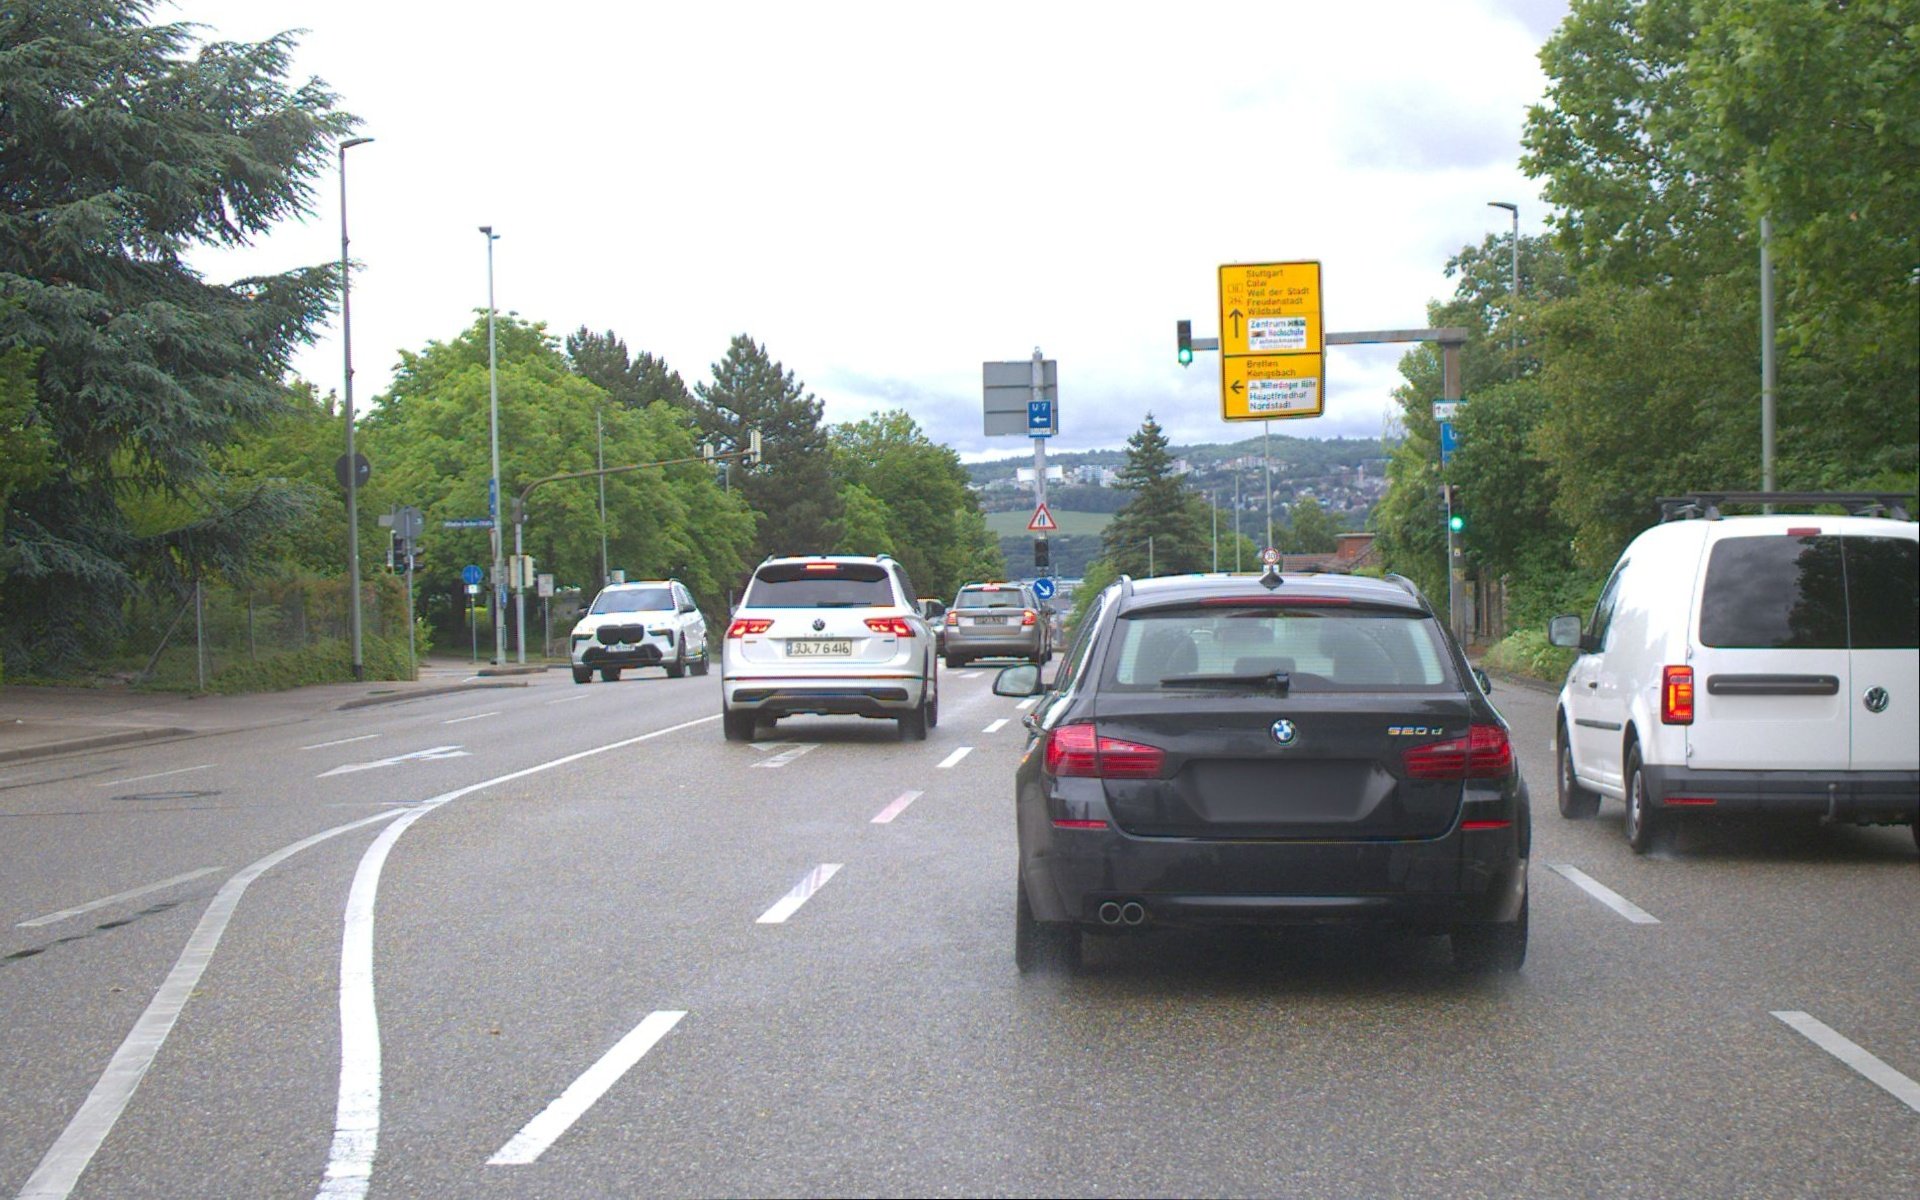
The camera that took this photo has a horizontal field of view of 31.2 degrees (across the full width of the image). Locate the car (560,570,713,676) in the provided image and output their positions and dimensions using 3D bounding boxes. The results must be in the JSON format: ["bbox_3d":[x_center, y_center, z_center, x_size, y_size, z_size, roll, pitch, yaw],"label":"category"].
[{"bbox_3d":[-5.891,0.394,63.214,1.917,1.757,5.142,-3,0,4],"label":"car"}]

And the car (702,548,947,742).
[{"bbox_3d":[-1.190,0.364,31.892,1.869,1.668,4.000,0,1,4],"label":"car"}]

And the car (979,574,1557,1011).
[{"bbox_3d":[1.140,0.634,13.370,1.899,1.437,3.999,0,0,4],"label":"car"}]

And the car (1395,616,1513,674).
[{"bbox_3d":[17.103,1.557,119.143,3.988,1.950,1.585,0,0,7],"label":"car"}]

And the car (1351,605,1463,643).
[{"bbox_3d":[16.144,0.853,124.219,3.988,1.372,1.585,0,0,7],"label":"car"}]

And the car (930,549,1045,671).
[{"bbox_3d":[0.520,0.144,60.345,1.811,2.081,3.850,0,1,4],"label":"car"}]

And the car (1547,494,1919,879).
[{"bbox_3d":[4.393,0.381,19.127,1.765,1.871,3.805,0,3,3],"label":"car"}]
